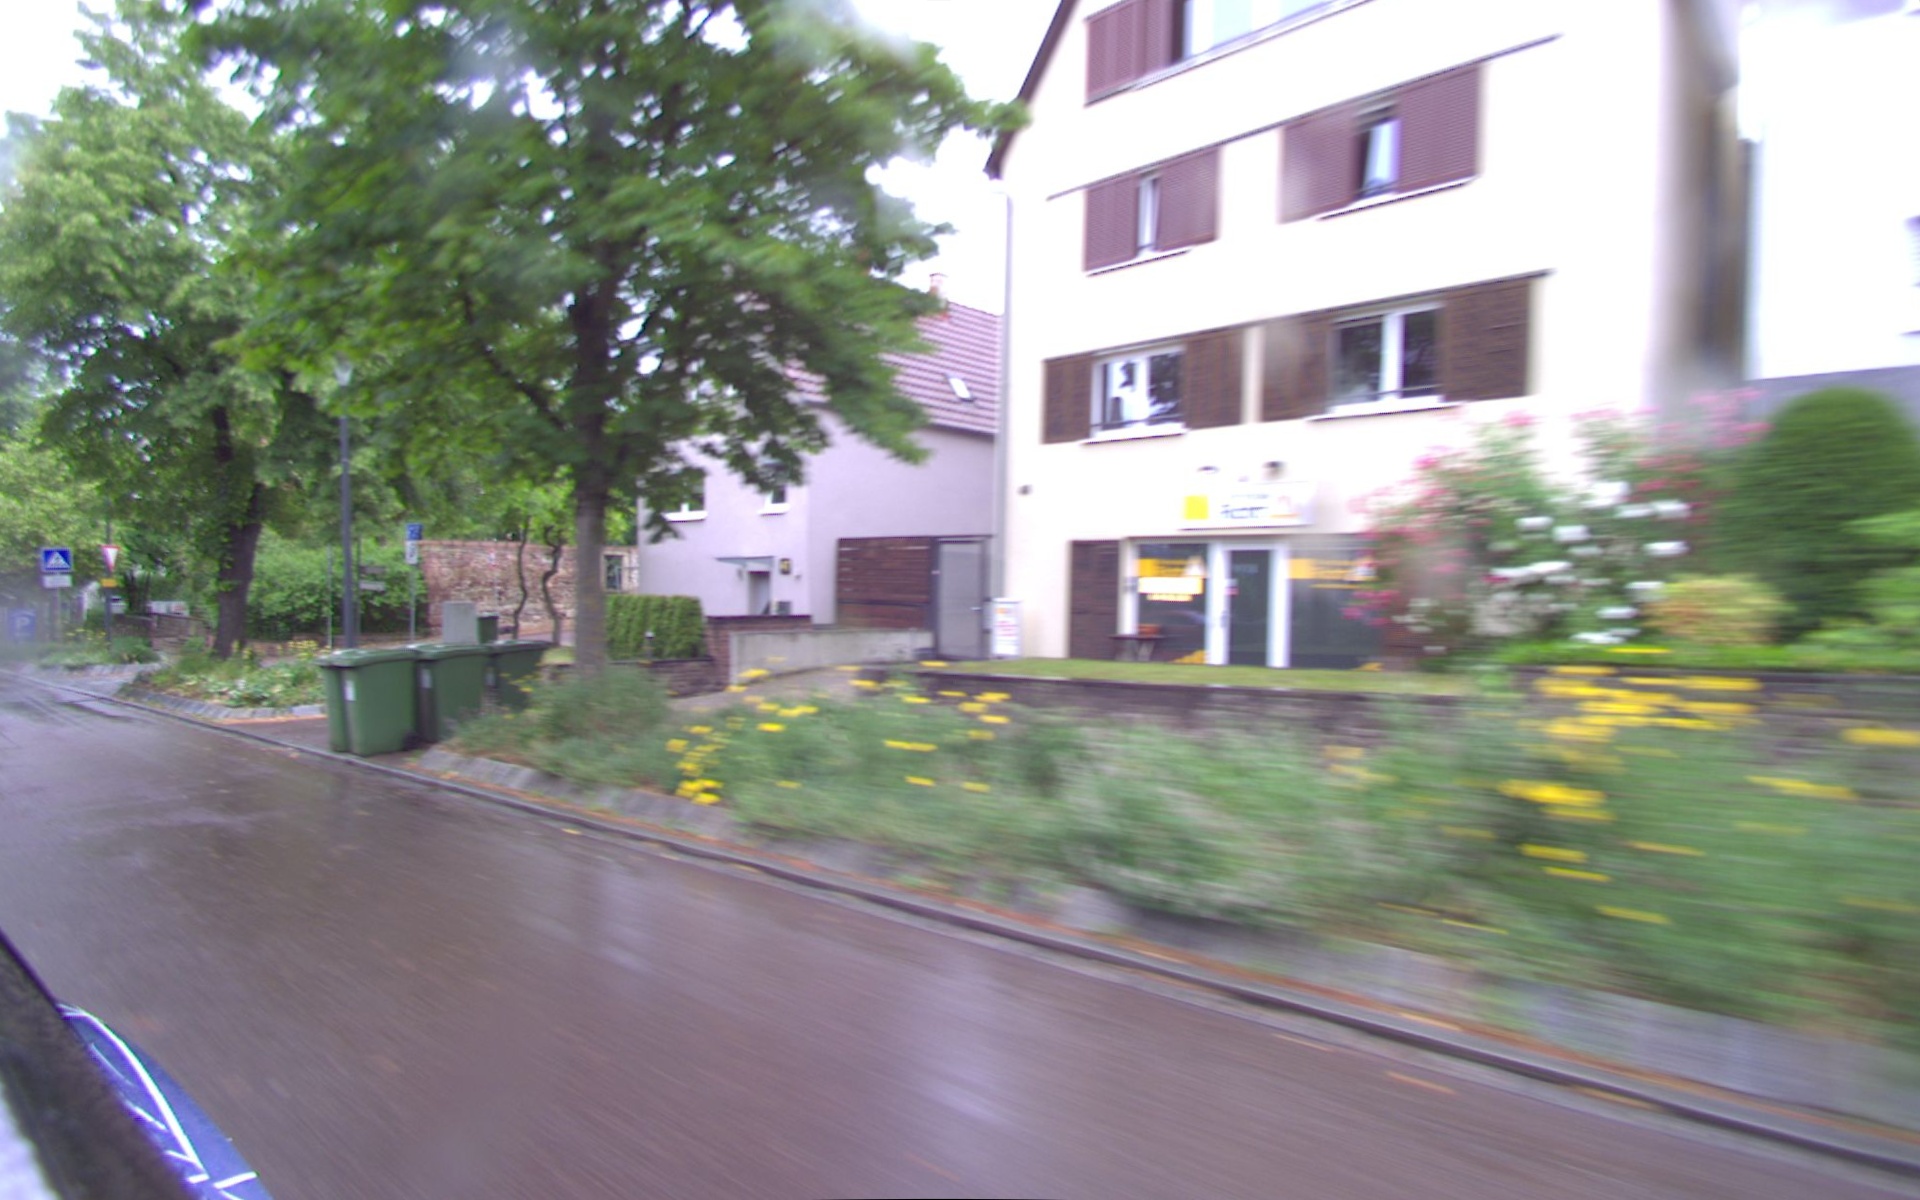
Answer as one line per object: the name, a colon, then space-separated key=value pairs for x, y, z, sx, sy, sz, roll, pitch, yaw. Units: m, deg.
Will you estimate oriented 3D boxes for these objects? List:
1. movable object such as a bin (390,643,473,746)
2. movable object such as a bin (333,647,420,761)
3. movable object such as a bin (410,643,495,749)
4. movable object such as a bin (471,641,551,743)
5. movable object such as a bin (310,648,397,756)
movable object such as a bin: x=-5.999 y=1.050 z=11.488 sx=0.581 sy=1.069 sz=0.617 roll=-1 pitch=2 yaw=39
movable object such as a bin: x=-6.059 y=1.058 z=10.516 sx=0.570 sy=1.085 sz=0.578 roll=-1 pitch=2 yaw=39
movable object such as a bin: x=-5.551 y=1.032 z=11.076 sx=0.568 sy=1.067 sz=0.611 roll=-1 pitch=2 yaw=39
movable object such as a bin: x=-5.136 y=1.032 z=11.581 sx=0.560 sy=1.067 sz=0.611 roll=-1 pitch=2 yaw=39
movable object such as a bin: x=-6.537 y=1.075 z=10.912 sx=0.564 sy=1.067 sz=0.622 roll=-1 pitch=2 yaw=39
